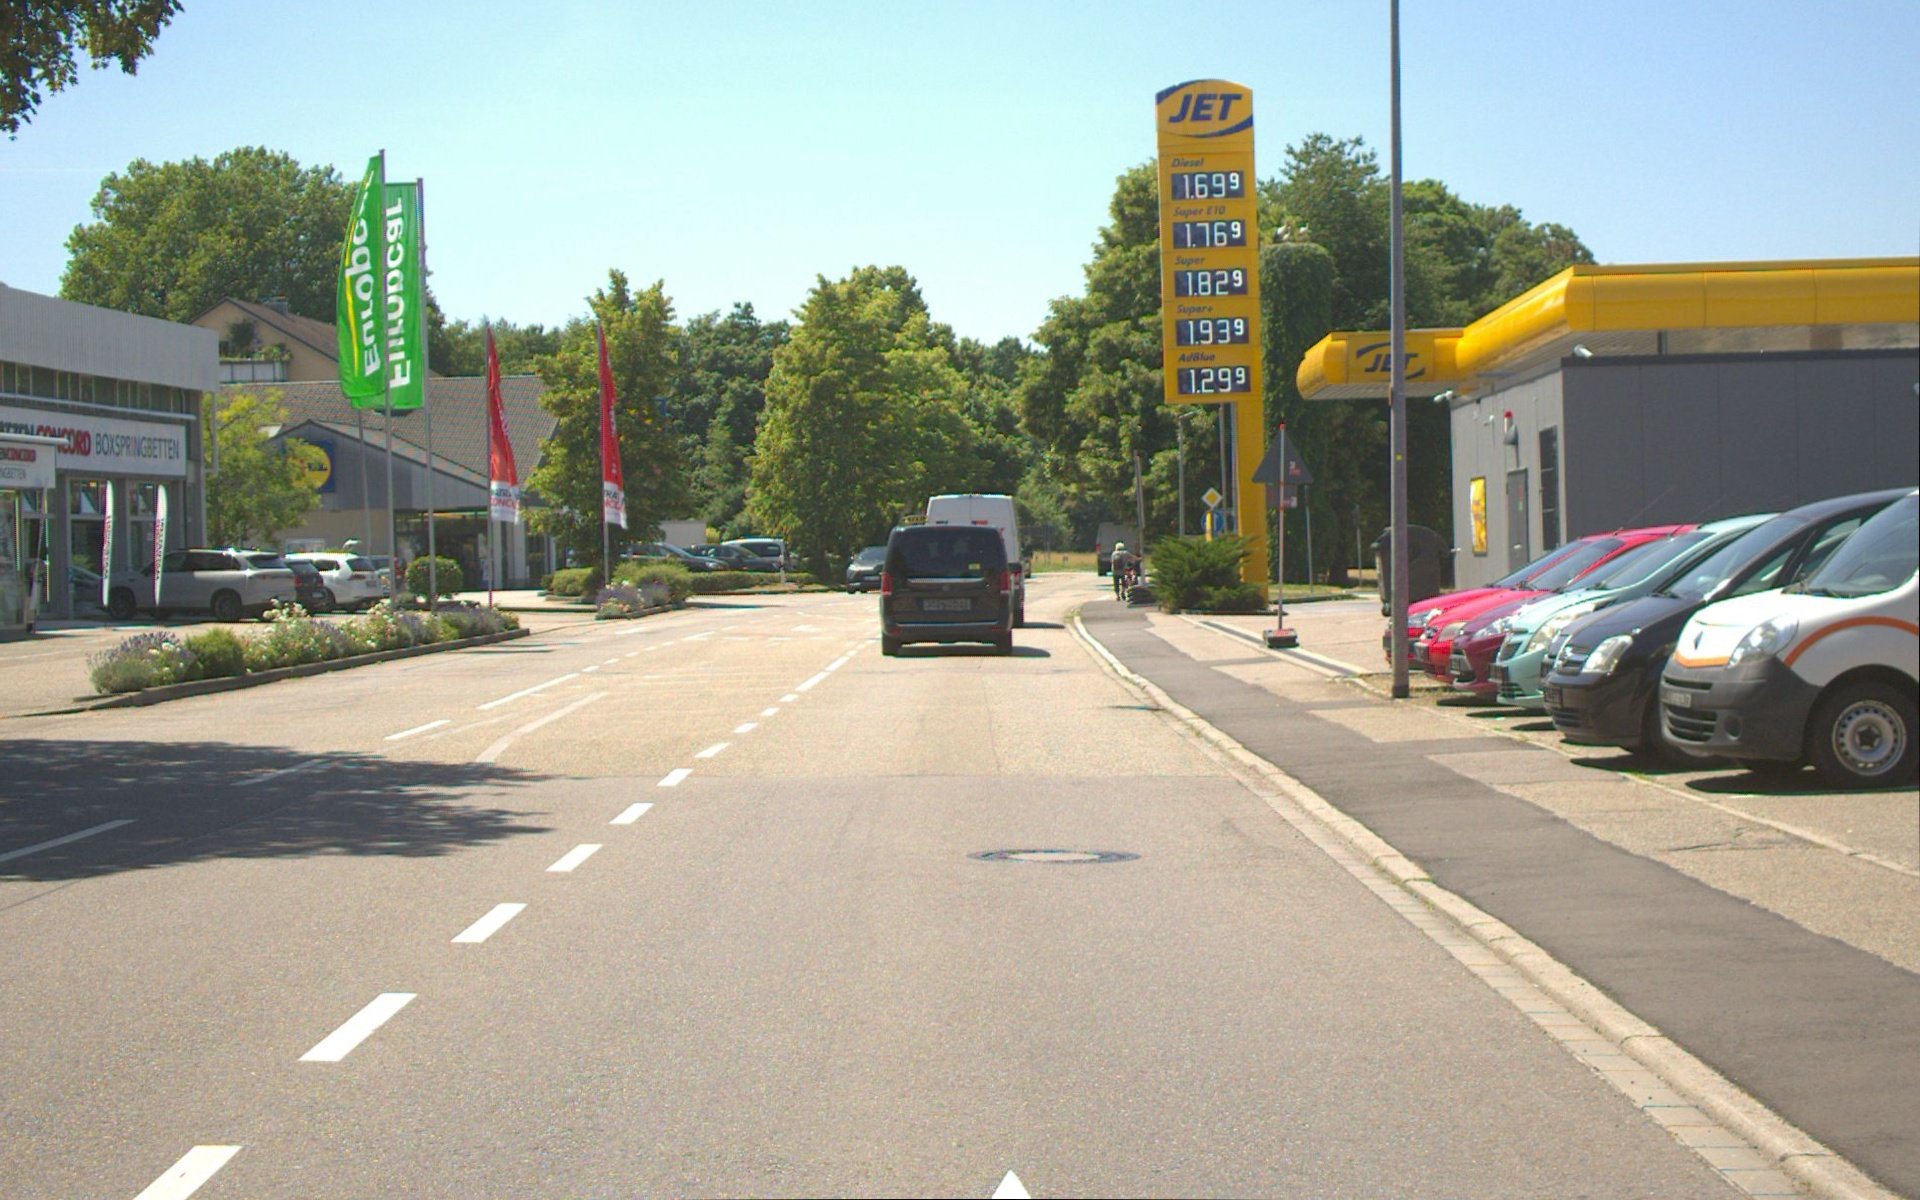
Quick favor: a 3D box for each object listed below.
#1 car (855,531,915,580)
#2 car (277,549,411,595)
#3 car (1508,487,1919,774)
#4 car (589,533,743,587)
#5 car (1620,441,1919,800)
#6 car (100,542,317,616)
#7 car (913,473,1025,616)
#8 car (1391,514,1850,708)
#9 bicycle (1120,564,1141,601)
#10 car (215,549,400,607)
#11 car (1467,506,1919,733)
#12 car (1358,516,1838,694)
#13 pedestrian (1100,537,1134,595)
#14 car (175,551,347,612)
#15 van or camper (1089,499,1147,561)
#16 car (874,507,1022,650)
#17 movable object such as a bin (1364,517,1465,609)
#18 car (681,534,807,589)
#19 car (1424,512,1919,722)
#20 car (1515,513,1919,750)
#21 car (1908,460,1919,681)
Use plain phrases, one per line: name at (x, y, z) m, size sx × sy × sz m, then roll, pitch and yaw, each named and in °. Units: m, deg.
car at (-2.477, -1.484, 114.159) m, size 1.762 × 1.522 × 4.138 m, roll -2°, pitch 1°, yaw 1°
car at (-21.501, -0.989, 120.151) m, size 4.312 × 1.524 × 1.828 m, roll -1°, pitch 1°, yaw 1°
car at (5.601, 0.139, 21.805) m, size 3.875 × 1.675 × 1.764 m, roll -2°, pitch 1°, yaw -2°
car at (-9.678, -1.321, 113.459) m, size 4.709 × 1.756 × 2.097 m, roll 0°, pitch 0°, yaw 9°
car at (6.072, 0.068, 19.706) m, size 4.133 × 1.931 × 1.808 m, roll -1°, pitch 1°, yaw -5°
car at (-17.409, -0.489, 79.713) m, size 4.535 × 1.658 × 1.998 m, roll 0°, pitch 1°, yaw 20°
car at (0.191, -1.090, 67.874) m, size 2.078 × 2.693 × 4.666 m, roll 1°, pitch 1°, yaw 1°
car at (5.851, 0.074, 30.727) m, size 3.684 × 1.561 × 1.709 m, roll -2°, pitch 1°, yaw -3°
bicycle at (4.243, -0.438, 85.526) m, size 0.378 × 0.909 × 1.597 m, roll 0°, pitch 1°, yaw 8°
car at (-16.600, -0.559, 87.479) m, size 4.187 × 1.441 × 1.978 m, roll 0°, pitch 1°, yaw 17°
car at (5.855, 0.117, 26.152) m, size 3.684 × 1.561 × 1.642 m, roll -2°, pitch 1°, yaw -2°
car at (6.097, 0.022, 33.193) m, size 4.224 × 1.529 × 1.958 m, roll -2°, pitch 1°, yaw 0°
pedestrian at (3.913, -0.853, 85.625) m, size 0.769 × 1.416 × 0.867 m, roll 0°, pitch 1°, yaw 9°
car at (-17.207, -0.461, 84.699) m, size 3.629 × 1.469 × 1.998 m, roll 0°, pitch 1°, yaw 20°
van or camper at (7.606, -3.365, 165.614) m, size 2.632 × 2.919 × 5.206 m, roll 0°, pitch 0°, yaw 1°
car at (-0.124, -0.329, 50.003) m, size 1.993 × 1.946 × 5.005 m, roll 1°, pitch 1°, yaw 1°
movable object such as a bin at (7.462, -0.608, 56.488) m, size 1.434 × 1.433 × 1.468 m, roll -2°, pitch 1°, yaw 1°
car at (-7.759, -1.378, 123.615) m, size 4.356 × 1.973 × 1.905 m, roll 0°, pitch 0°, yaw 3°
car at (5.846, 0.113, 28.420) m, size 3.684 × 1.561 × 1.750 m, roll -2°, pitch 1°, yaw -3°
car at (5.942, 0.178, 24.066) m, size 3.792 × 1.504 × 1.833 m, roll -2°, pitch 1°, yaw 1°
car at (10.420, -0.164, 28.734) m, size 4.339 × 1.890 × 1.972 m, roll 2°, pitch 1°, yaw -2°
